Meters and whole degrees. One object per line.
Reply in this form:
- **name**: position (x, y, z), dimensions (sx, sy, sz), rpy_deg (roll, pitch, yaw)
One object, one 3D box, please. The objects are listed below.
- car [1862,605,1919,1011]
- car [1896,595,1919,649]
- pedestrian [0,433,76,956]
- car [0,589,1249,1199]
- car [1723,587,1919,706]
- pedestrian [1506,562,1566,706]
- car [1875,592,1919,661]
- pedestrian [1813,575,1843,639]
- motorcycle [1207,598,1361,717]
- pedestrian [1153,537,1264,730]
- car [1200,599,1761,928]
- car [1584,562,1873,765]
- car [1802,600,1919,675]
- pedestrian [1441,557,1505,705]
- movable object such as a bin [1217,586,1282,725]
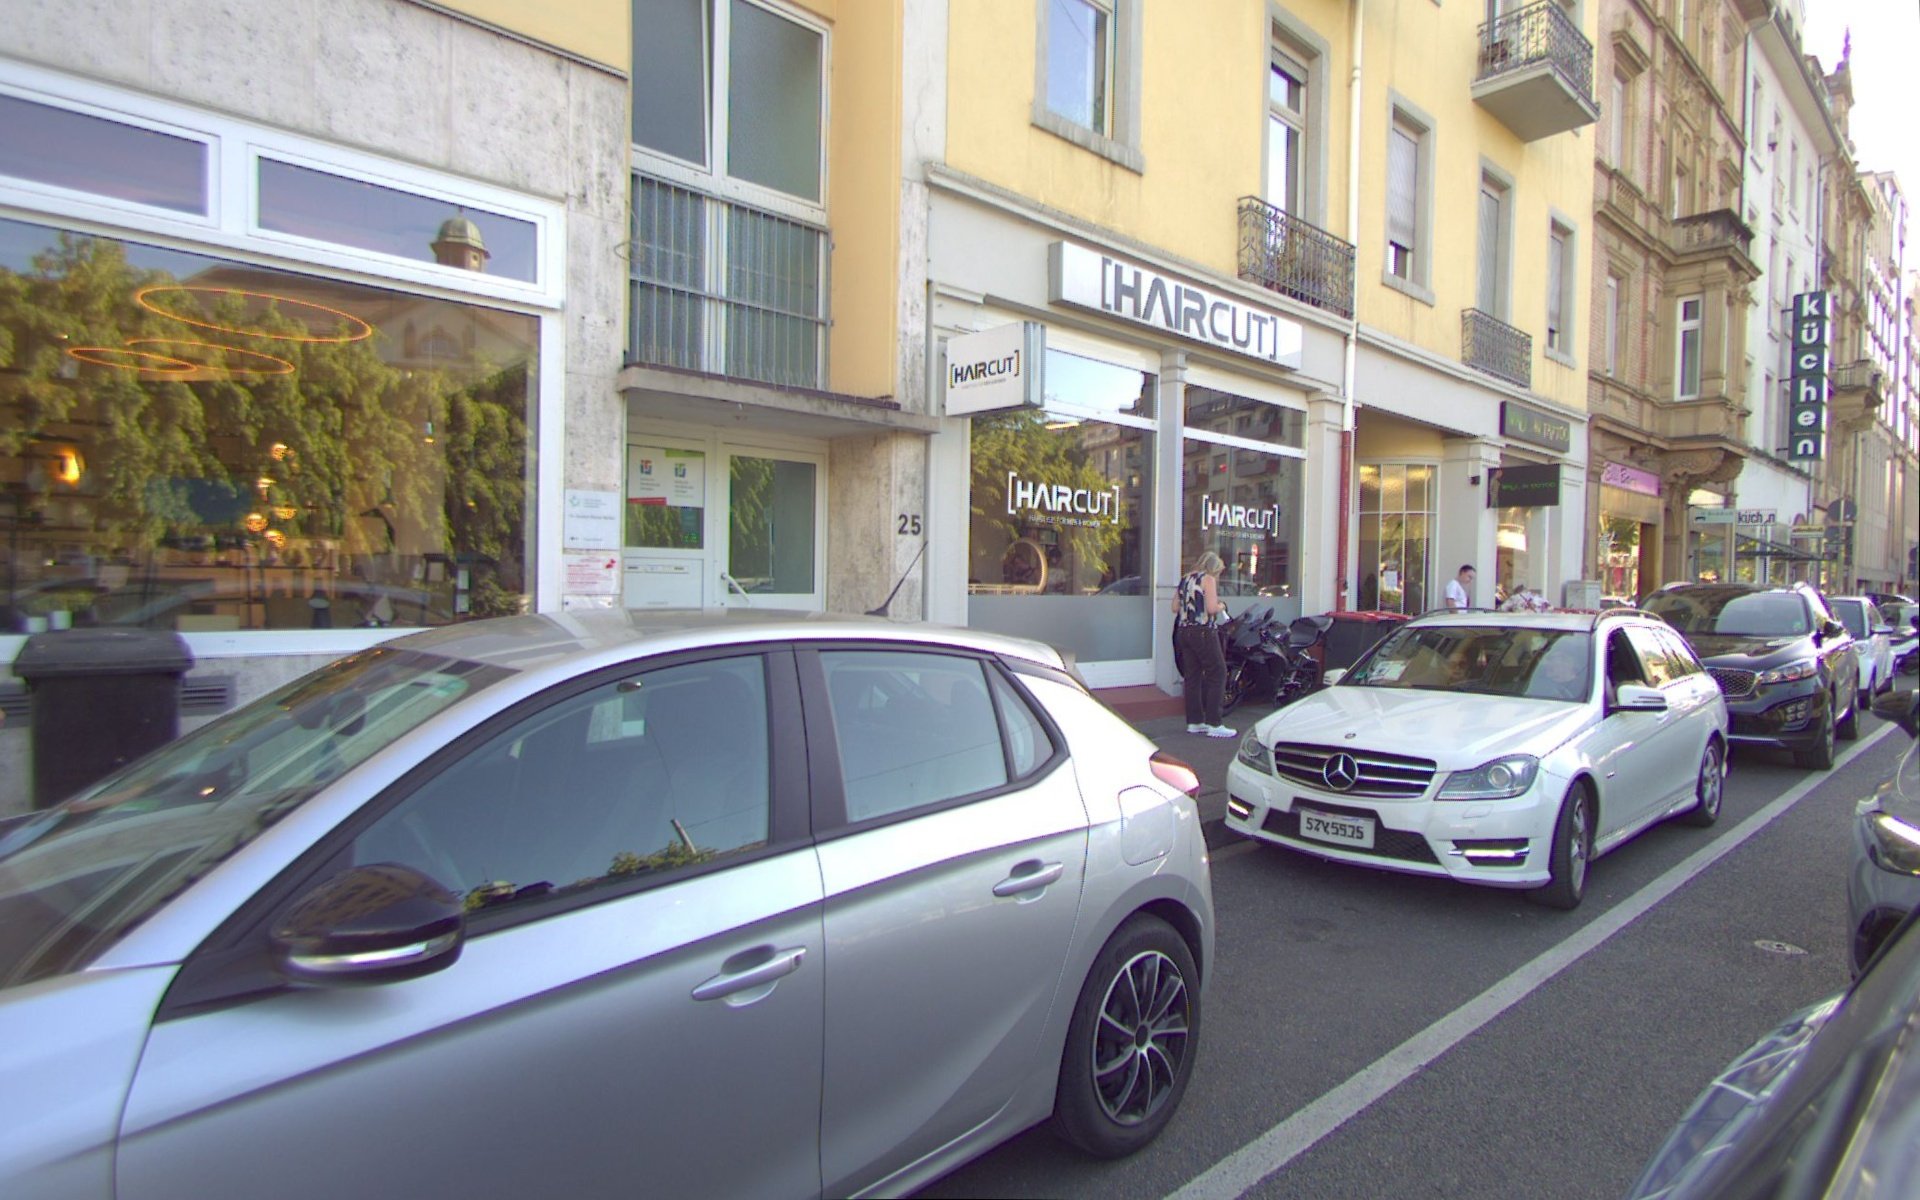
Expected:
- **car**: position (5.266, 0.711, 4.214), dimensions (3.931, 1.376, 1.800), rpy_deg (-1, 1, -41)
- **car**: position (26.606, 0.565, 27.202), dimensions (3.773, 1.357, 1.800), rpy_deg (-1, 1, -42)
- **pedestrian**: position (-3.430, 0.302, 3.342), dimensions (0.655, 1.686, 0.639), rpy_deg (1, 0, 36)
- **car**: position (-1.007, 0.703, 2.293), dimensions (3.597, 1.445, 1.549), rpy_deg (-1, 1, -42)
- **car**: position (13.097, 0.587, 15.300), dimensions (4.016, 1.546, 1.800), rpy_deg (-1, 0, -42)
- **pedestrian**: position (7.699, 0.442, 13.545), dimensions (0.567, 1.874, 0.661), rpy_deg (0, 0, 19)
- **car**: position (22.179, 0.562, 23.012), dimensions (4.016, 1.450, 1.657), rpy_deg (-1, 0, -42)
- **pedestrian**: position (25.864, 0.190, 30.143), dimensions (0.653, 1.874, 0.574), rpy_deg (0, 0, -40)
- **motorcycle**: position (3.405, 0.547, 10.538), dimensions (1.920, 1.091, 0.567), rpy_deg (-1, 4, -41)
- **pedestrian**: position (2.272, 0.273, 9.271), dimensions (0.595, 1.674, 0.719), rpy_deg (0, 3, -40)
- **car**: position (3.522, 0.705, 6.438), dimensions (4.302, 1.376, 1.703), rpy_deg (-1, 1, -41)
- **car**: position (8.001, 0.495, 10.381), dimensions (4.176, 1.659, 1.799), rpy_deg (-1, 1, -45)
- **car**: position (18.067, 0.665, 19.893), dimensions (4.016, 1.282, 1.800), rpy_deg (-1, 1, -42)
- **pedestrian**: position (7.099, 0.419, 14.014), dimensions (0.679, 2.008, 0.375), rpy_deg (1, 1, -18)
- **movable object such as a bin**: position (2.733, 0.506, 9.553), dimensions (0.387, 1.253, 0.391), rpy_deg (0, 3, -41)
